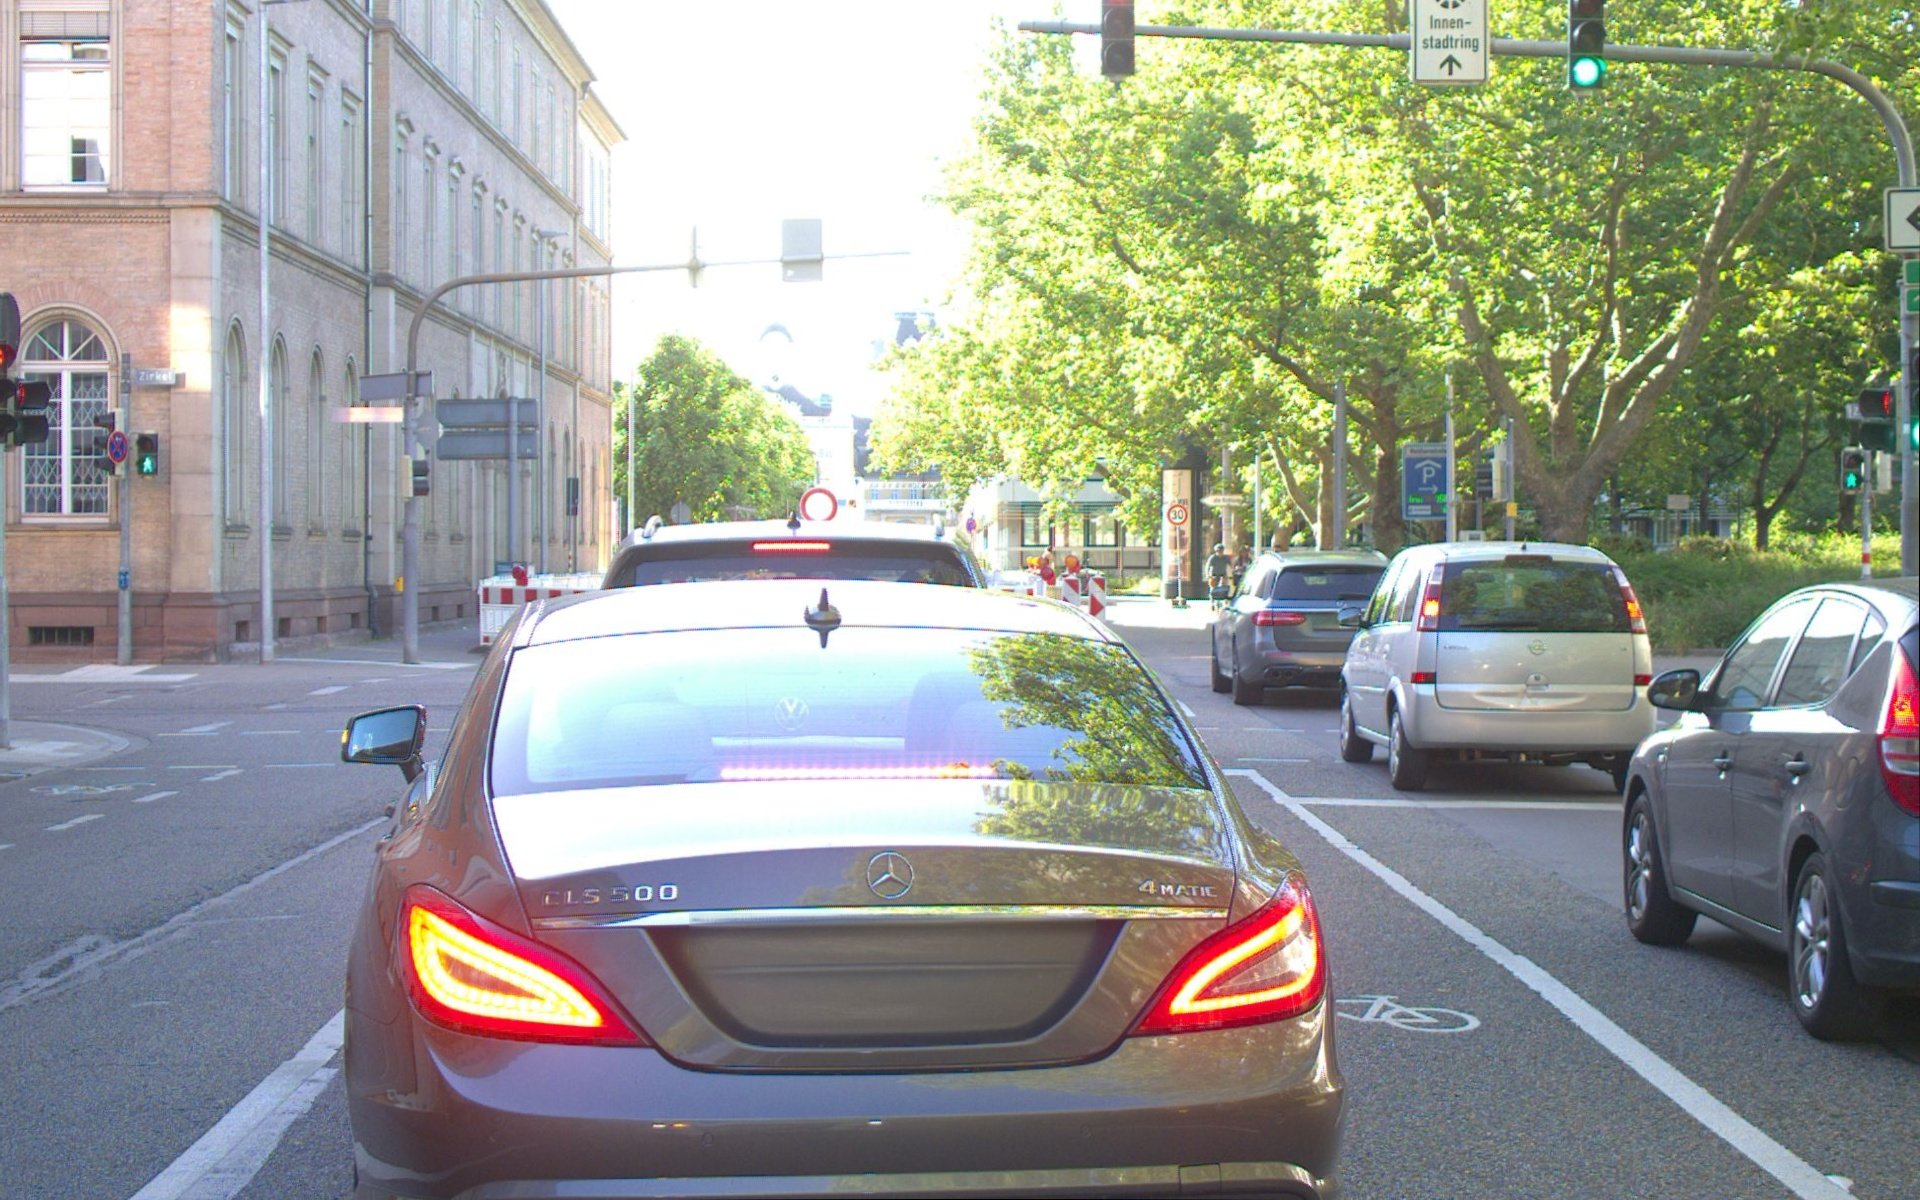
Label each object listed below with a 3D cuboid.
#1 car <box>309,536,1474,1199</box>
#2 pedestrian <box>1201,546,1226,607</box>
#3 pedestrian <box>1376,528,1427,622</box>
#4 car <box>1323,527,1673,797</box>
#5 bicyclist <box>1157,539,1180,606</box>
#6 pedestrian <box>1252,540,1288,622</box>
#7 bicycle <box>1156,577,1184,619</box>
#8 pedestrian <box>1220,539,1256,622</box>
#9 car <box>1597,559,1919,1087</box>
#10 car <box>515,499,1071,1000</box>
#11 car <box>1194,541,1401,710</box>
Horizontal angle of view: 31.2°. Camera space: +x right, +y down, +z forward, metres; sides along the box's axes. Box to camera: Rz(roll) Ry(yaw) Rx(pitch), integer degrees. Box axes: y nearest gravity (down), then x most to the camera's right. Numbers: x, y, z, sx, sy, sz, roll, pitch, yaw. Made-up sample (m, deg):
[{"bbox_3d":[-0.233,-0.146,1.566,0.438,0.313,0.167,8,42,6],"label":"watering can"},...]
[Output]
[{"bbox_3d":[-0.366,0.627,7.467,1.861,1.514,4.001,0,1,-8],"label":"car"},{"bbox_3d":[6.277,-0.580,85.087,0.555,1.504,0.346,1,0,-4],"label":"pedestrian"},{"bbox_3d":[7.305,-0.418,56.924,0.635,1.540,0.910,1,0,-5],"label":"pedestrian"},{"bbox_3d":[3.547,0.368,23.257,1.731,1.656,3.681,1,1,-1],"label":"car"},{"bbox_3d":[6.361,-0.851,104.976,0.594,2.032,0.566,1,0,-4],"label":"bicyclist"},{"bbox_3d":[6.726,-0.410,74.668,0.635,1.754,0.699,1,0,-4],"label":"pedestrian"},{"bbox_3d":[6.410,-0.067,104.997,0.591,1.259,1.806,1,1,-5],"label":"bicycle"},{"bbox_3d":[6.042,-0.418,74.714,0.635,1.791,0.699,1,0,-4],"label":"pedestrian"},{"bbox_3d":[3.474,0.631,11.991,1.704,1.514,4.000,0,1,-1],"label":"car"},{"bbox_3d":[-0.586,0.472,13.597,1.861,1.677,4.000,0,1,-1],"label":"car"},{"bbox_3d":[3.249,0.219,33.635,1.601,1.543,3.681,1,1,-1],"label":"car"}]
